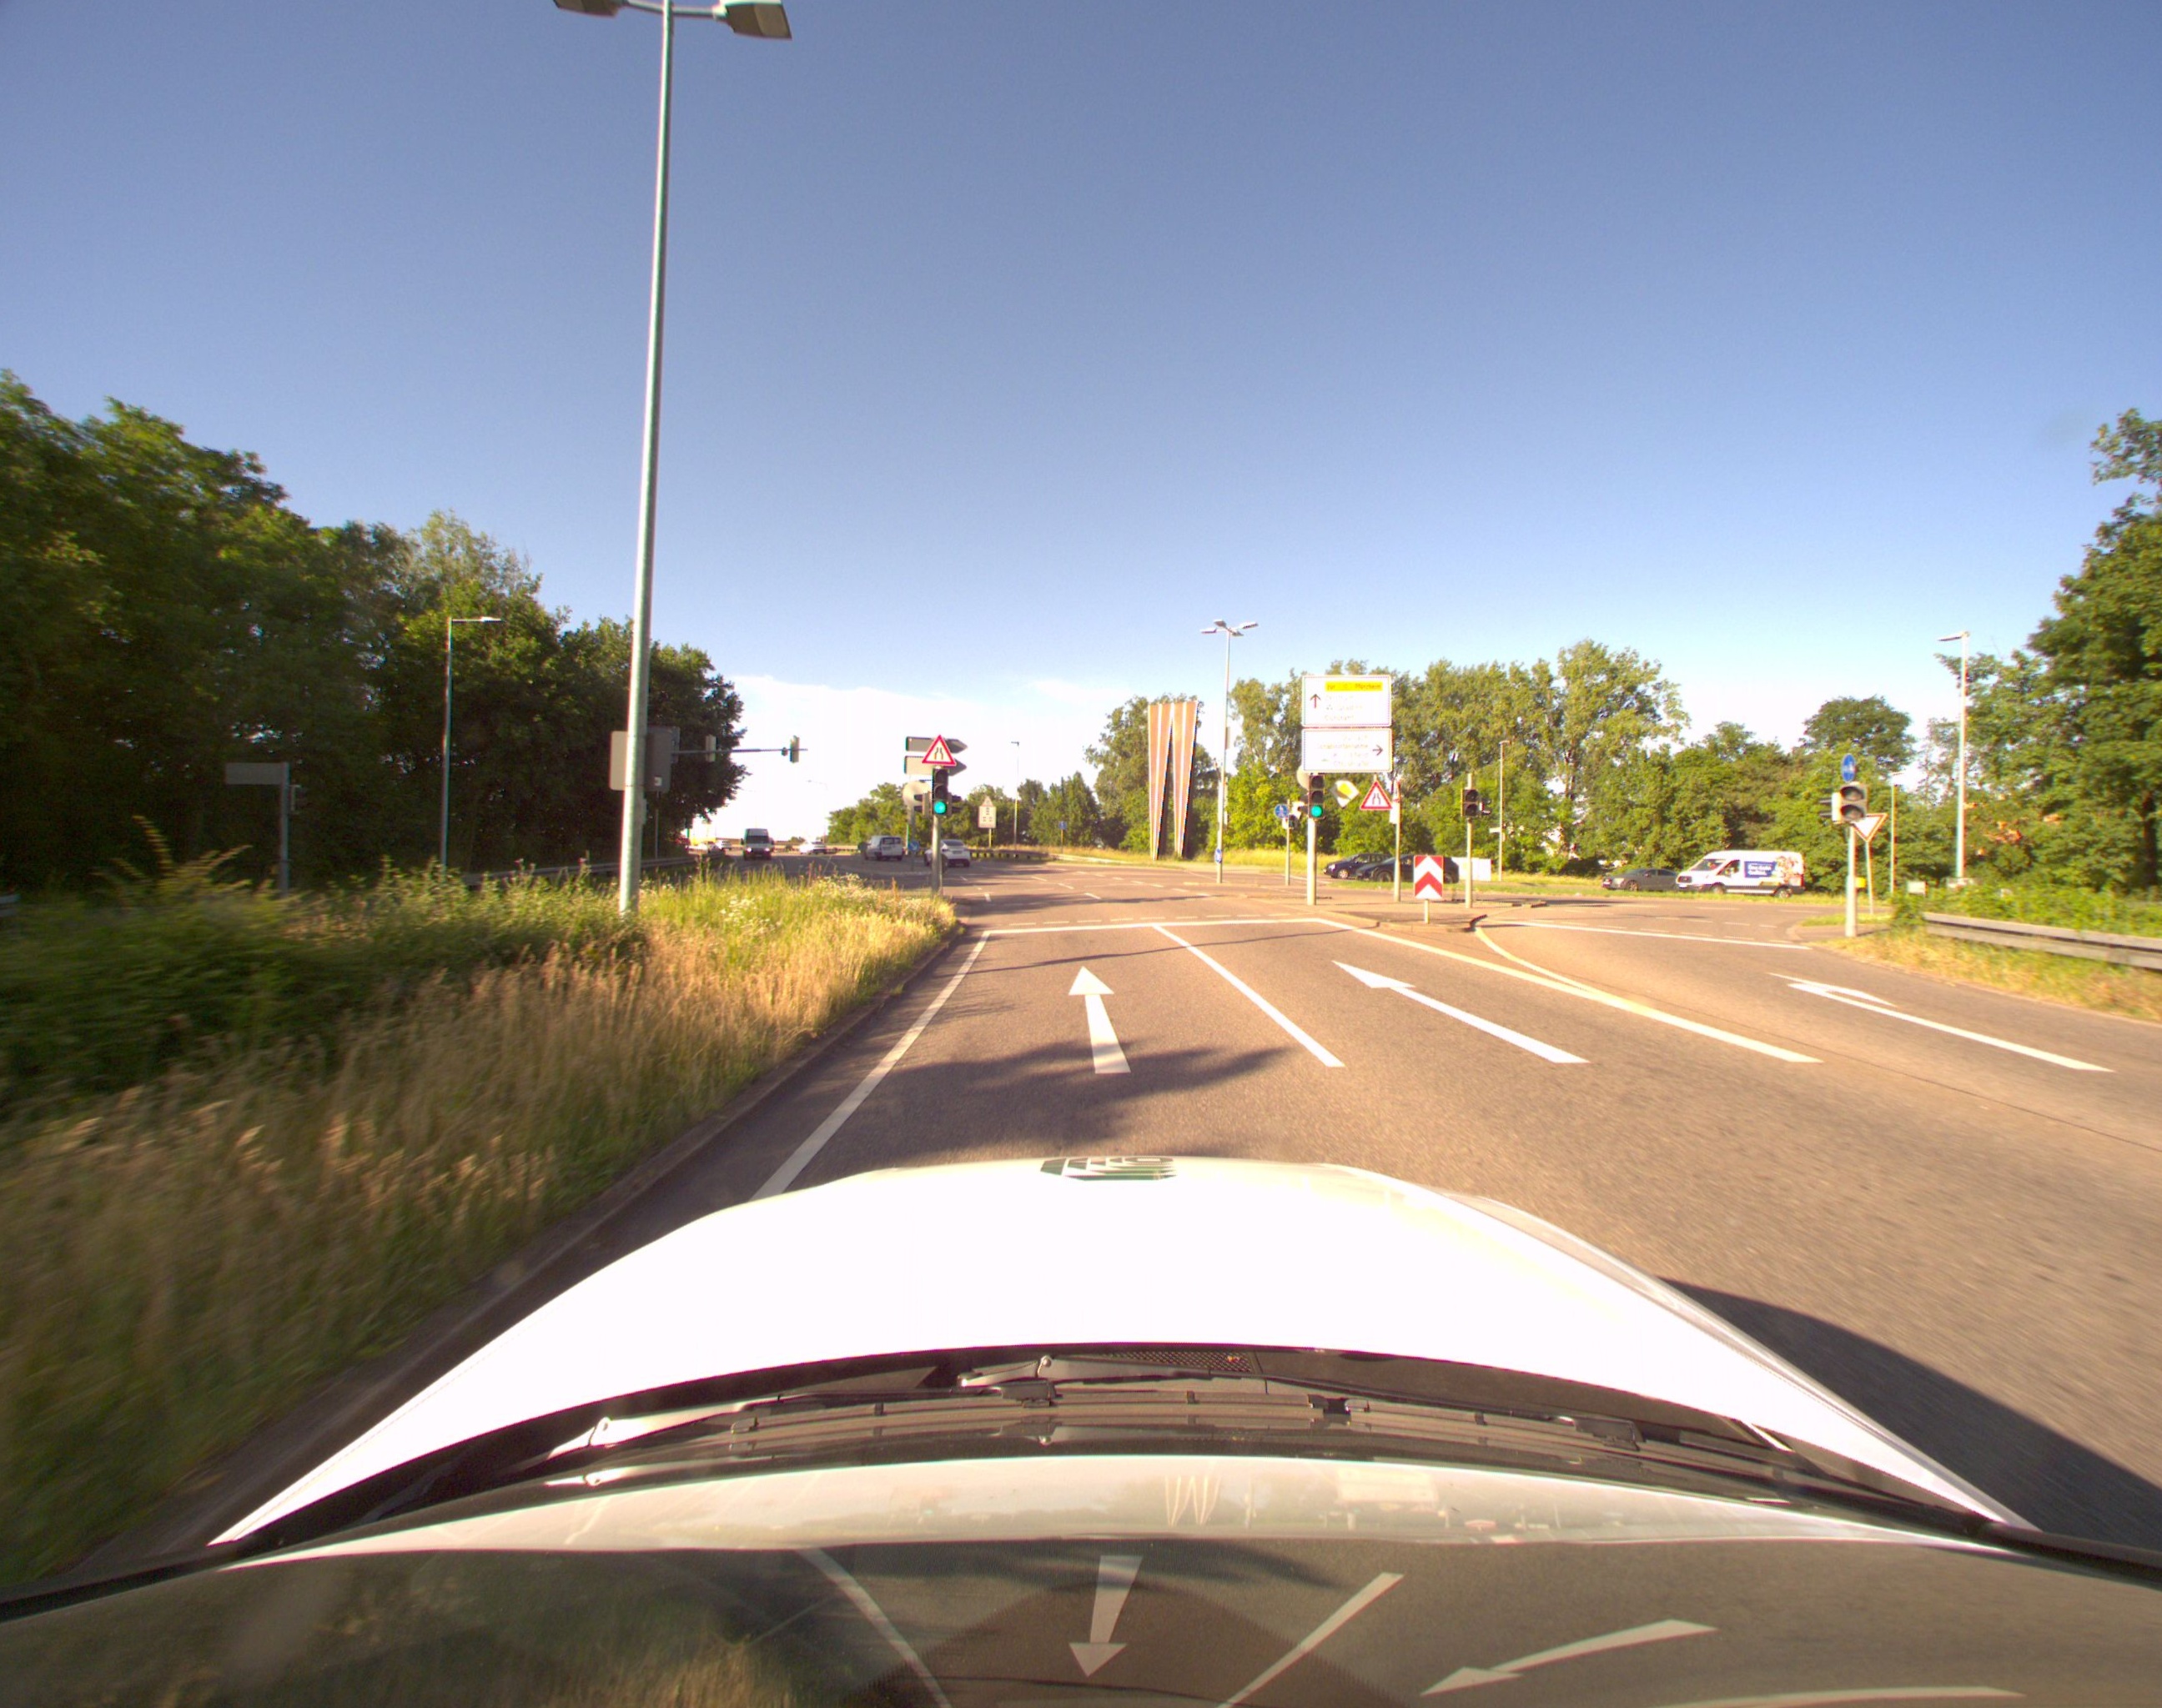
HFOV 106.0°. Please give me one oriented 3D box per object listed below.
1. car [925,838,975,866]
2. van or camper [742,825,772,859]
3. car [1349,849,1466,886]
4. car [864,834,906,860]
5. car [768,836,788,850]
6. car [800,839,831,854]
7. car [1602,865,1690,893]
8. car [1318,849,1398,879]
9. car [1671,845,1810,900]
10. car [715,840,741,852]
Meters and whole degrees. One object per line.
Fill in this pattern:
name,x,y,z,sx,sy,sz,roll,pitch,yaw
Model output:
car,-7.966,-0.138,49.196,2.003,1.640,4.095,1,0,-25
van or camper,-26.832,-1.019,67.317,2.059,2.673,6.878,-1,1,-24
car,14.698,0.599,36.833,4.446,1.464,1.999,2,1,-2
car,-14.683,-0.509,60.915,2.006,1.879,4.209,1,0,-30
car,-37.266,-1.339,100.261,1.979,1.698,3.967,1,1,-25
car,-27.182,-0.810,83.262,1.983,1.474,4.111,0,1,-34
car,30.829,1.344,44.530,3.675,1.387,1.612,1,0,4
car,14.954,0.546,44.080,3.734,1.403,1.694,2,2,0
car,32.892,0.899,40.721,5.254,2.409,2.107,3,0,-2
car,-49.072,-1.120,113.214,2.285,1.508,3.953,2,0,-41
